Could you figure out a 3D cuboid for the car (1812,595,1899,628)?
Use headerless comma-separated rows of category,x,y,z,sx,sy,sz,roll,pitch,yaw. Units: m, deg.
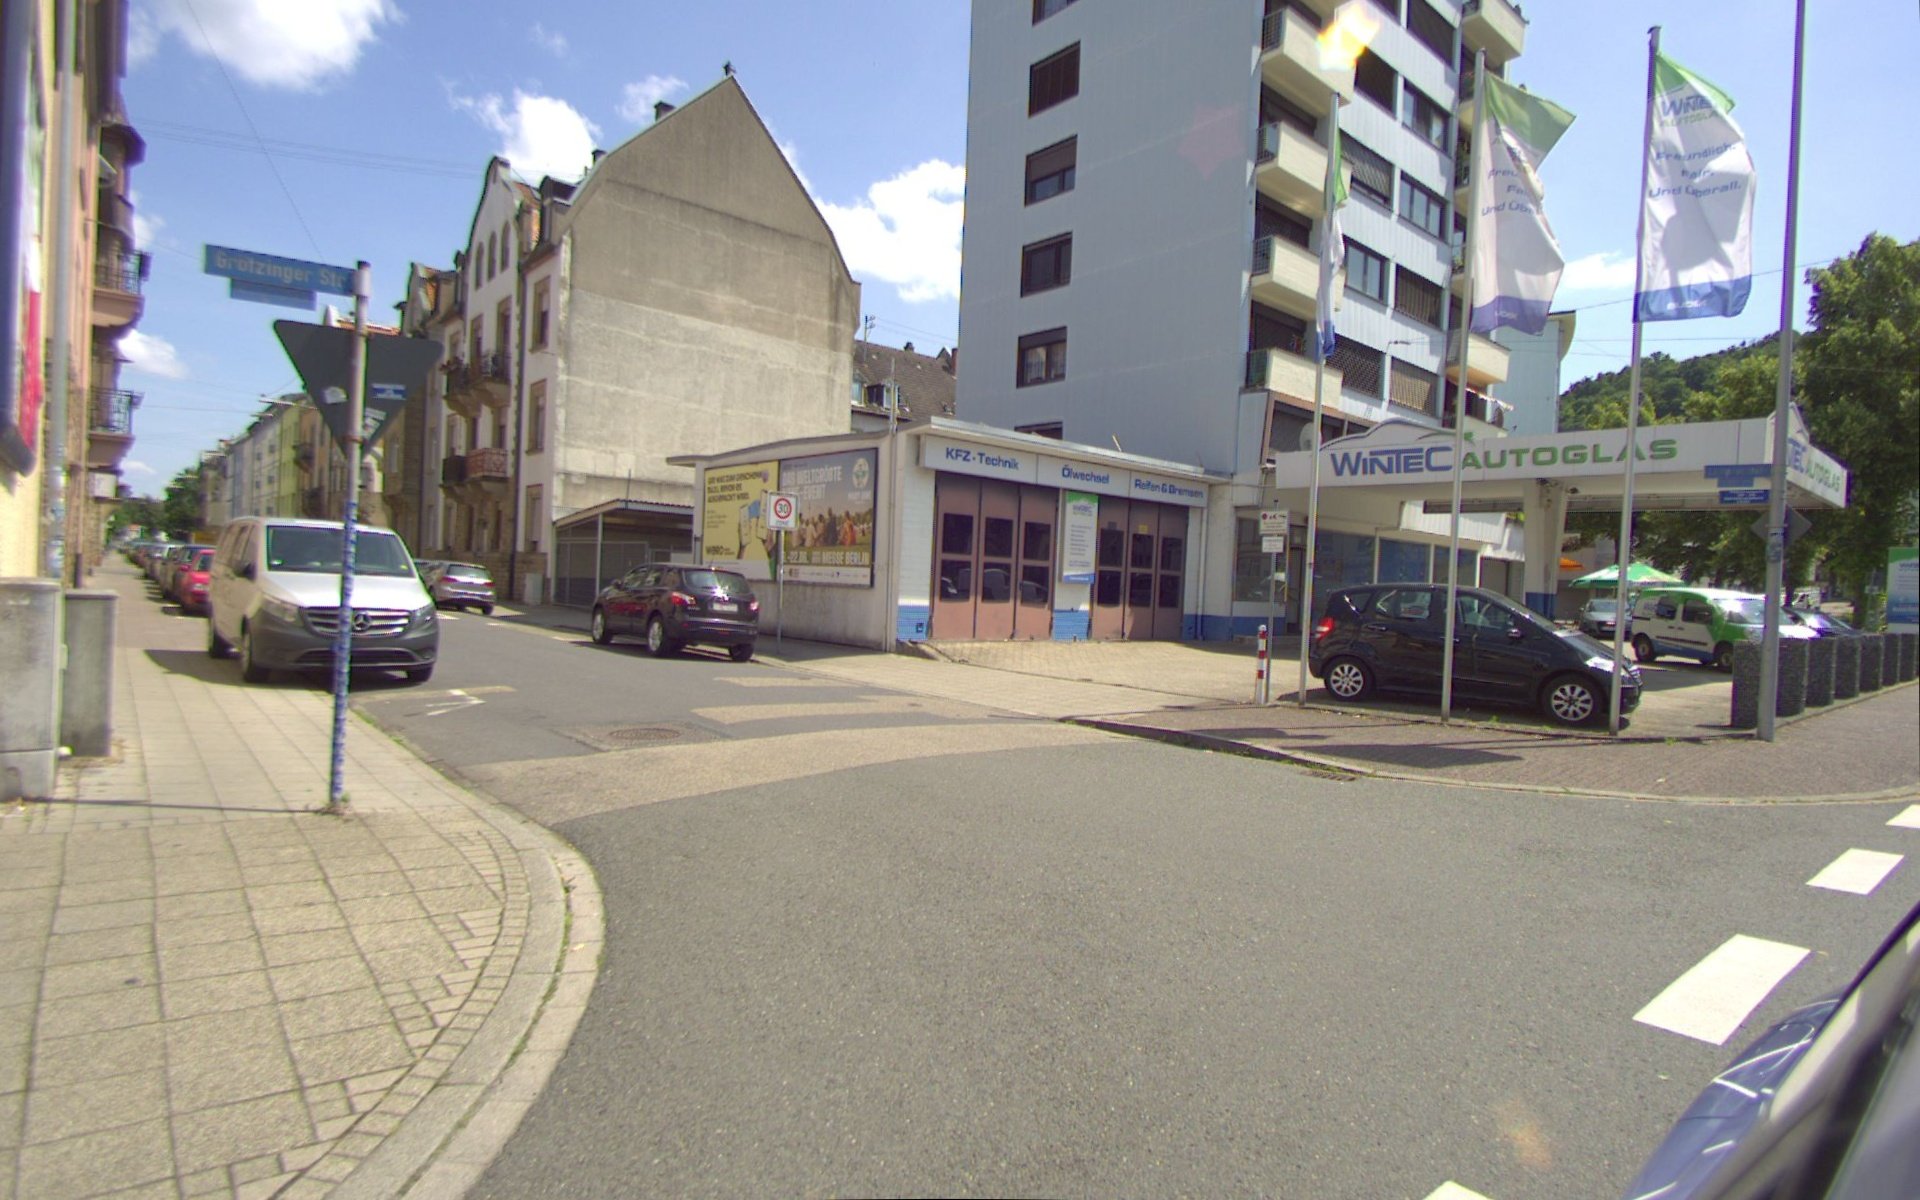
car,59.315,0.711,66.994,6.245,2.039,2.405,-1,0,-29

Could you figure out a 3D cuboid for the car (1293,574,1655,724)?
car,6.515,0.497,13.000,3.868,1.562,1.817,3,2,38

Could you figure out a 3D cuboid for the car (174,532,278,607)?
car,-16.556,-0.640,22.761,1.621,1.527,3.995,-1,1,-40

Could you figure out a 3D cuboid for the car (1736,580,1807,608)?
car,61.720,-0.453,76.935,5.273,2.039,2.405,-1,0,-29

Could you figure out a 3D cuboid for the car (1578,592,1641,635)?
car,23.263,0.440,36.370,1.699,1.417,4.238,1,1,30

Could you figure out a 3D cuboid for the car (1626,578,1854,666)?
car,17.456,0.431,22.966,1.788,1.812,4.291,0,0,-1

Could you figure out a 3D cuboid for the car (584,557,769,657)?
car,-5.175,0.077,18.145,1.808,1.562,3.887,3,0,-38

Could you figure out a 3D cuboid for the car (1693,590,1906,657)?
car,21.799,0.549,26.491,1.664,1.446,3.983,2,2,-16

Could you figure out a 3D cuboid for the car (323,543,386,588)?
car,-24.843,-1.359,41.467,1.621,1.724,3.995,-1,0,-40

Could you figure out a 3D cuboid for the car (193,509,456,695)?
car,-8.162,-0.083,12.747,1.877,1.884,5.060,0,2,-43

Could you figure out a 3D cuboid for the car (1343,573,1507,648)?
car,11.327,0.232,24.503,4.621,1.647,1.750,1,1,-40

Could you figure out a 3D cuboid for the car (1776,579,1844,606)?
car,67.377,-0.626,80.213,5.273,2.039,2.405,-1,0,-29

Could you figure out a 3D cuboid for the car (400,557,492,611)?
car,-15.475,-0.463,30.377,1.621,1.527,3.995,-1,1,-40
